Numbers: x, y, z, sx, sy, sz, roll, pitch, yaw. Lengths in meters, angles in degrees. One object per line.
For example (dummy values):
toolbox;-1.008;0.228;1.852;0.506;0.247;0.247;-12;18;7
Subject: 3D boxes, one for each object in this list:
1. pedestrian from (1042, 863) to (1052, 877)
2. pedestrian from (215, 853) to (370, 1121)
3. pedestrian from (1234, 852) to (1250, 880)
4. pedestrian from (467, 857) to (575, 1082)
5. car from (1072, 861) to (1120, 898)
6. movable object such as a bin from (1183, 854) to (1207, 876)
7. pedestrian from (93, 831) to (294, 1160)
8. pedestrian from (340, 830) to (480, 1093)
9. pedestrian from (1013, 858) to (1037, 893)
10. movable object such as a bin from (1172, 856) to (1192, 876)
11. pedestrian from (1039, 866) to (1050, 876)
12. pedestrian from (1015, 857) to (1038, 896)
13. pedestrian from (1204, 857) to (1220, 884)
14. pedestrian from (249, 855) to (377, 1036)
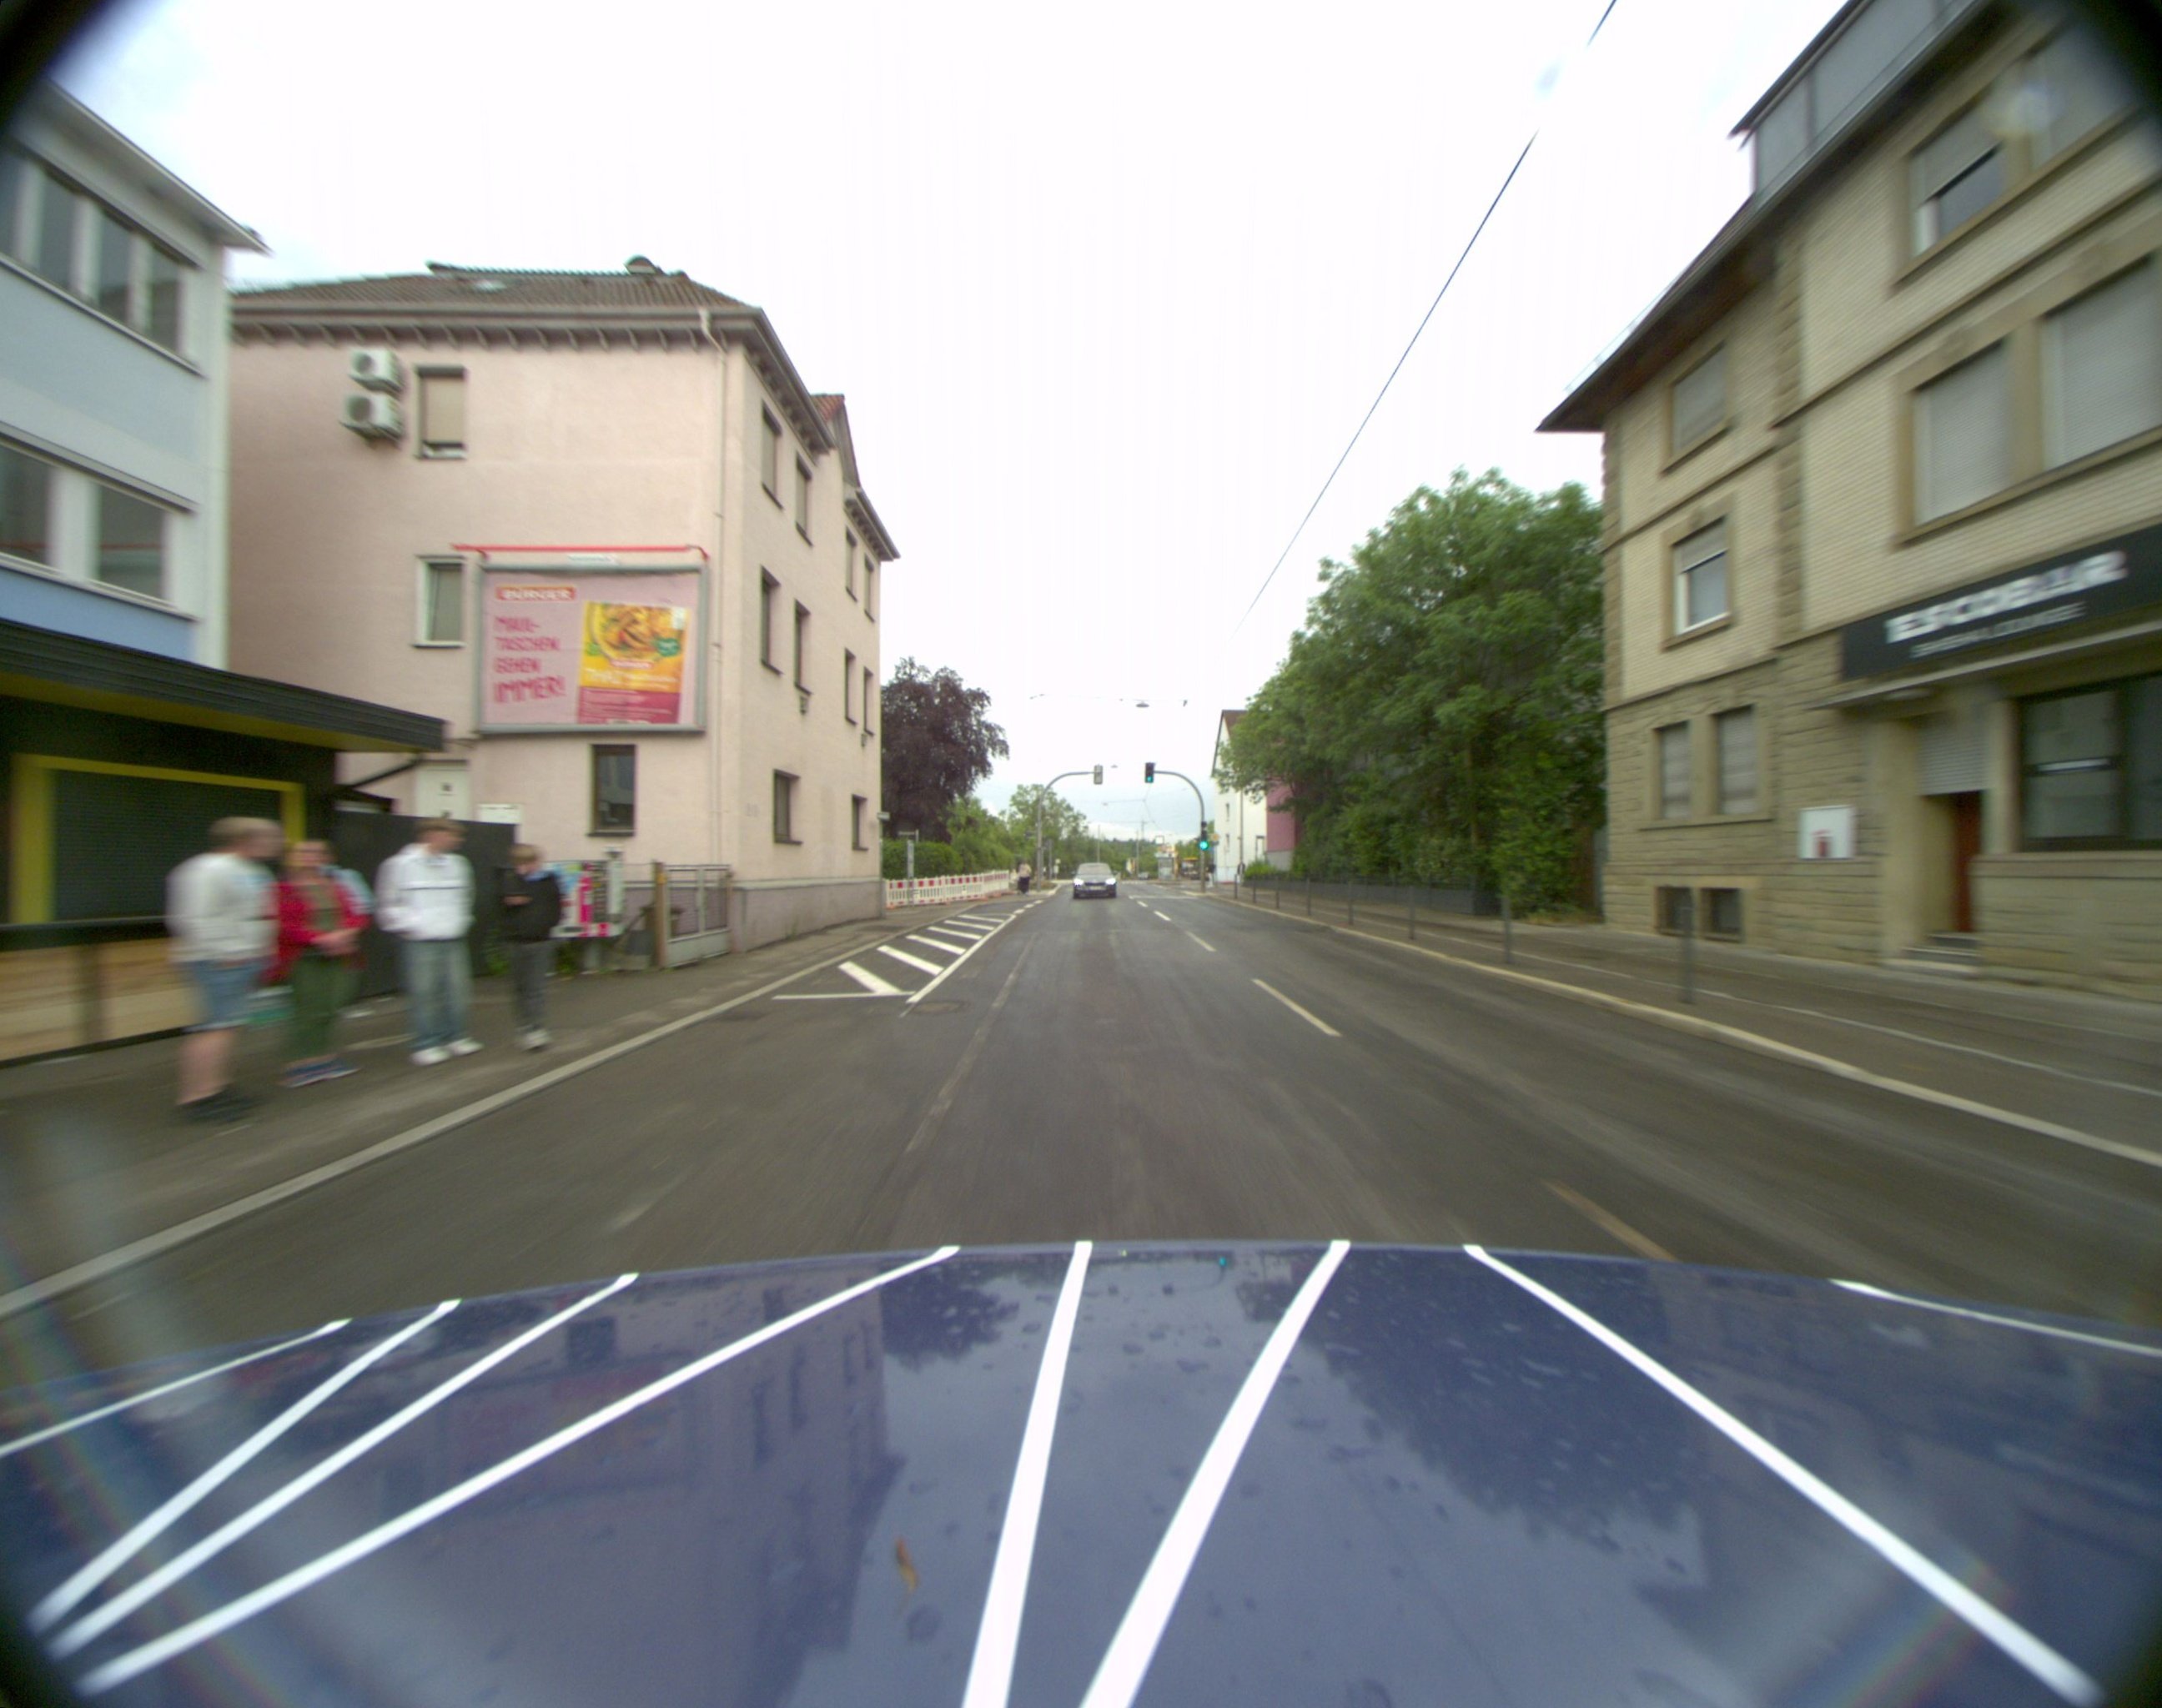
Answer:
pedestrian;-3.820;1.810;85.416;0.922;1.537;0.543;0;0;-31
pedestrian;-5.355;0.855;5.181;0.447;1.698;0.558;2;1;15
pedestrian;10.813;0.816;50.936;0.808;1.810;1.116;-1;-1;0
pedestrian;-4.597;0.894;6.279;0.637;1.700;0.747;2;1;-33
car;0.628;1.048;31.448;1.837;1.429;4.001;-1;-2;1
movable object such as a bin;20.635;1.994;137.138;2.951;3.820;8.140;-1;-2;18
pedestrian;-5.259;0.792;4.537;0.460;1.830;0.604;2;1;-5
pedestrian;-5.093;0.768;5.784;0.486;1.864;0.634;3;1;28
pedestrian;-2.573;0.970;35.093;0.877;1.551;1.049;-1;1;5
movable object such as a bin;16.169;1.979;121.540;2.828;3.093;4.640;0;-2;13
pedestrian;-4.567;2.131;94.580;1.070;1.321;0.808;0;-1;-31
pedestrian;-2.383;0.970;33.375;0.785;1.632;1.222;-1;1;5
pedestrian;8.946;1.120;51.972;0.864;1.871;1.044;0;-1;-1
pedestrian;-7.320;0.839;7.278;0.676;1.616;0.623;2;1;-28
